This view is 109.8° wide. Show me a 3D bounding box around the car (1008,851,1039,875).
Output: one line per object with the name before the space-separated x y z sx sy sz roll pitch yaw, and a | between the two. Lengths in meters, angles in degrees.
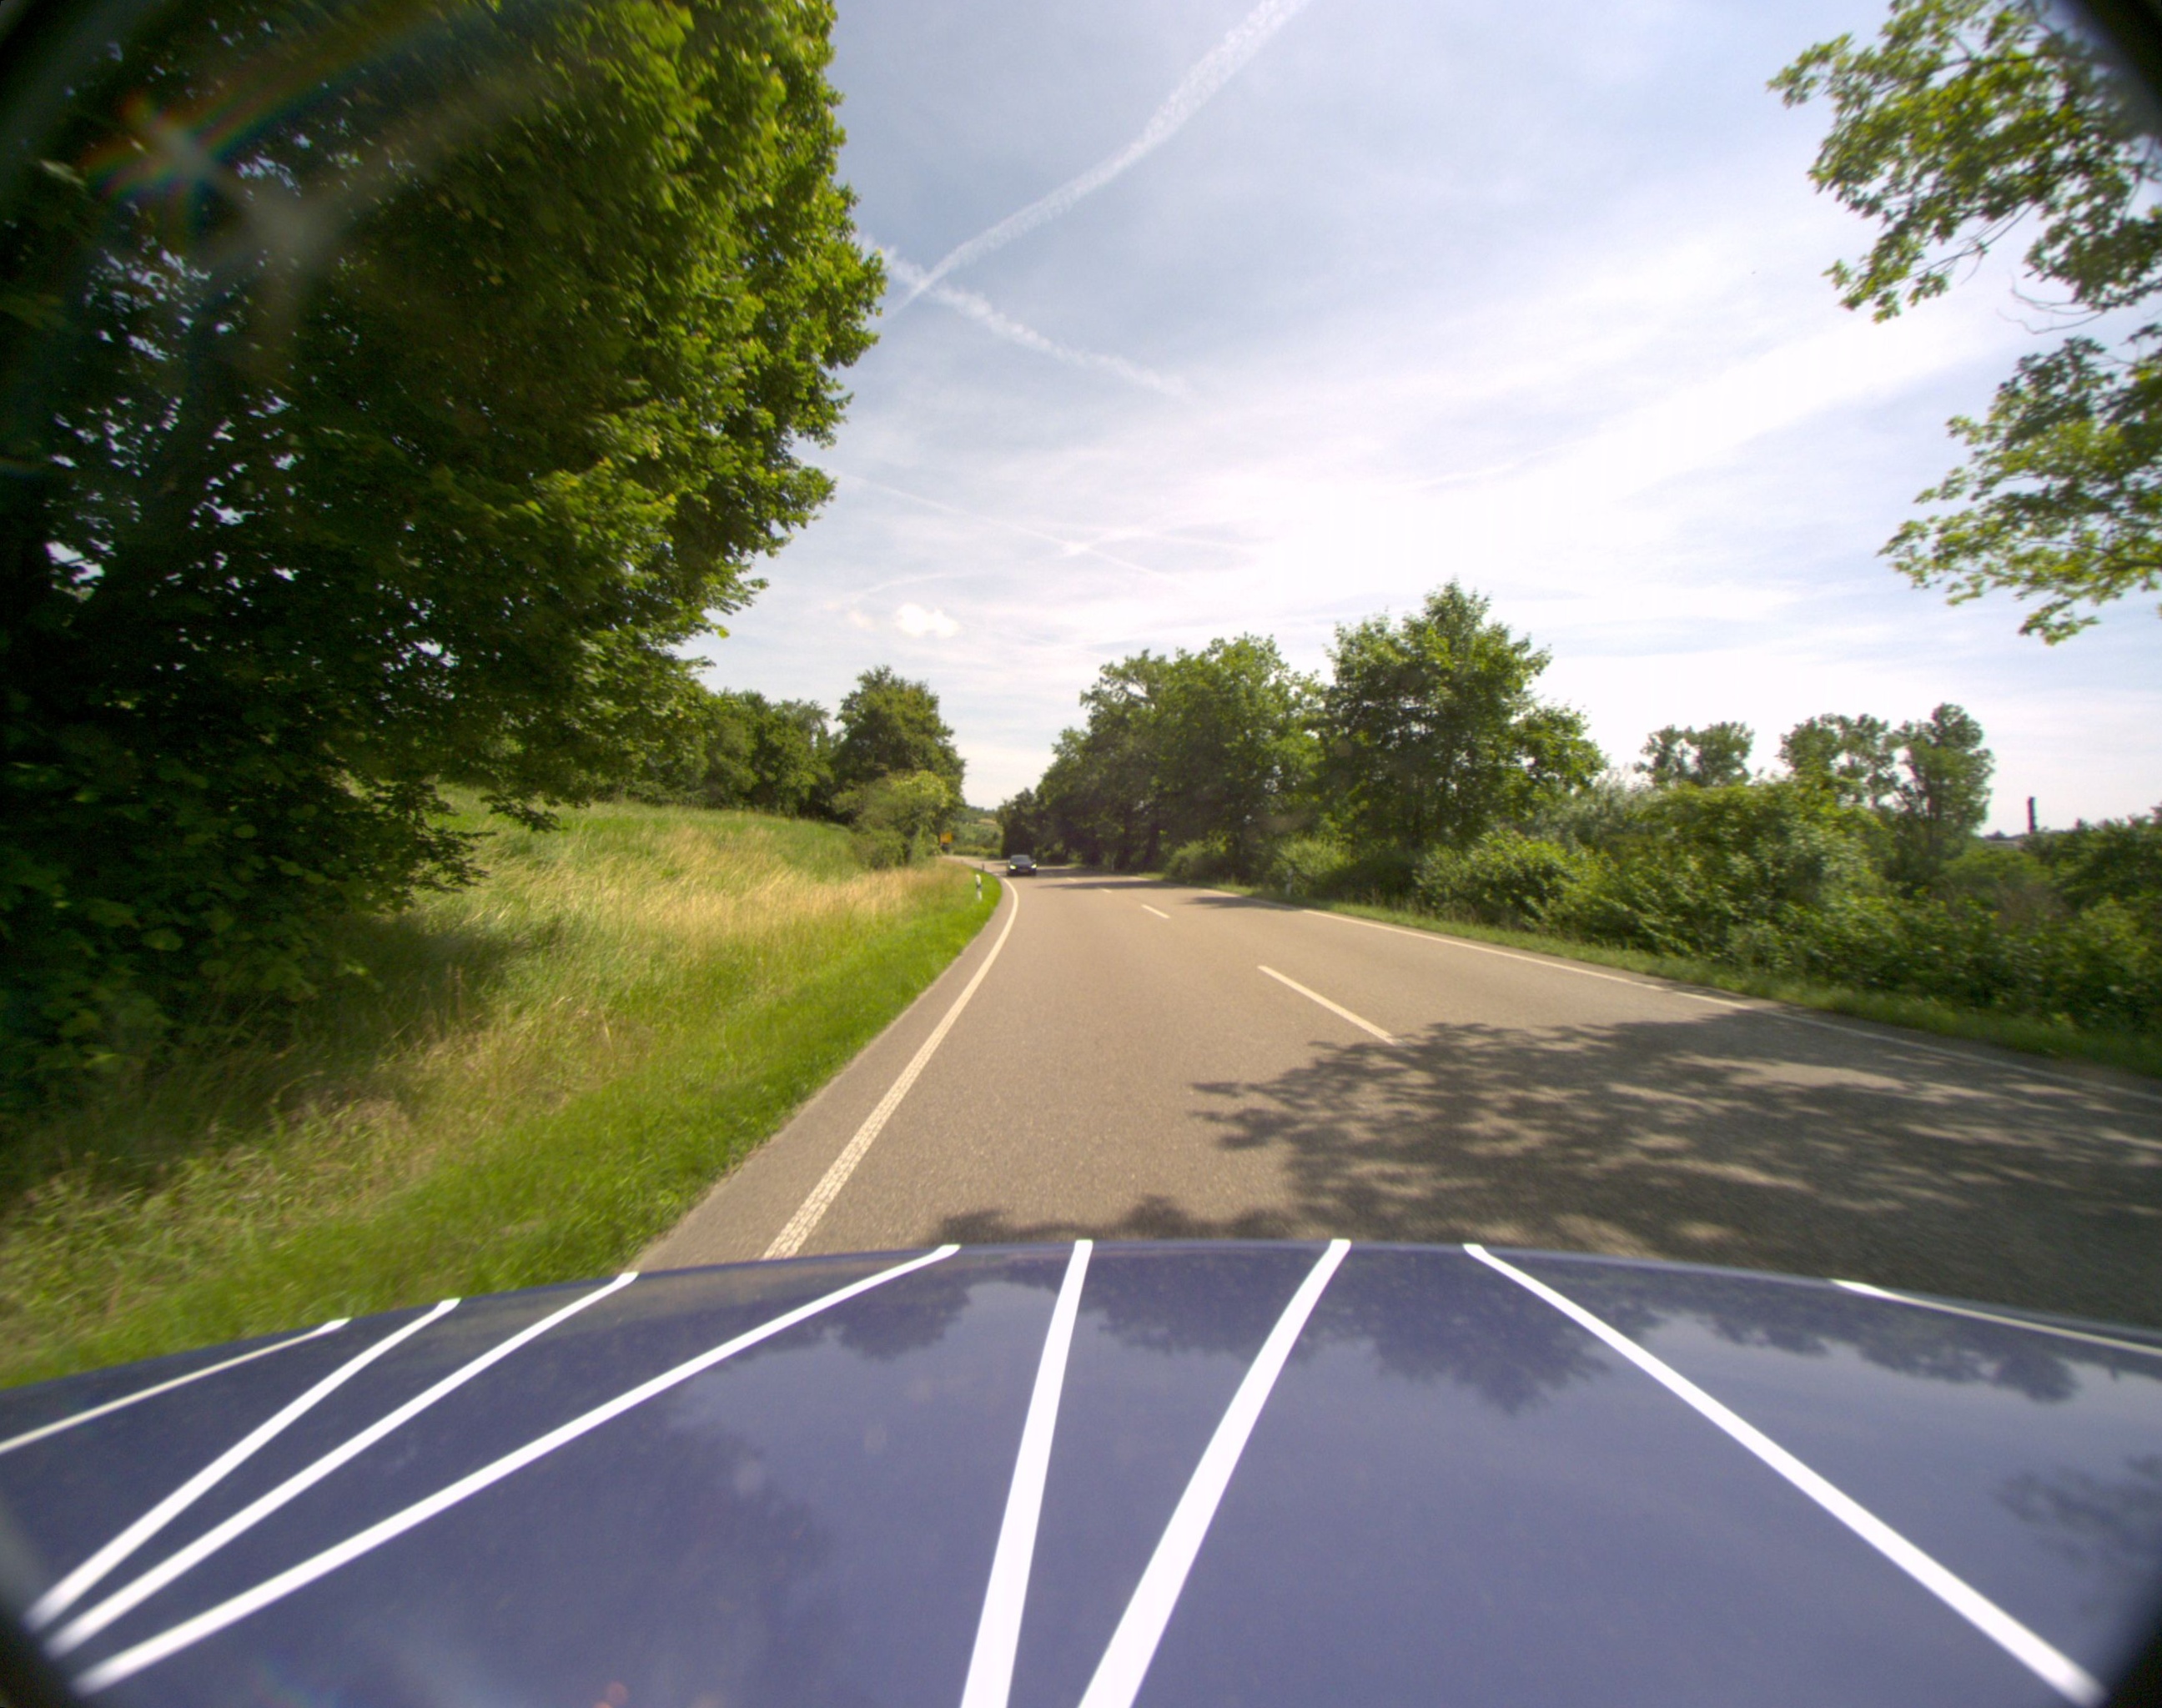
car | -4.033 0.598 52.679 1.786 1.440 4.600 -3 1 -8
